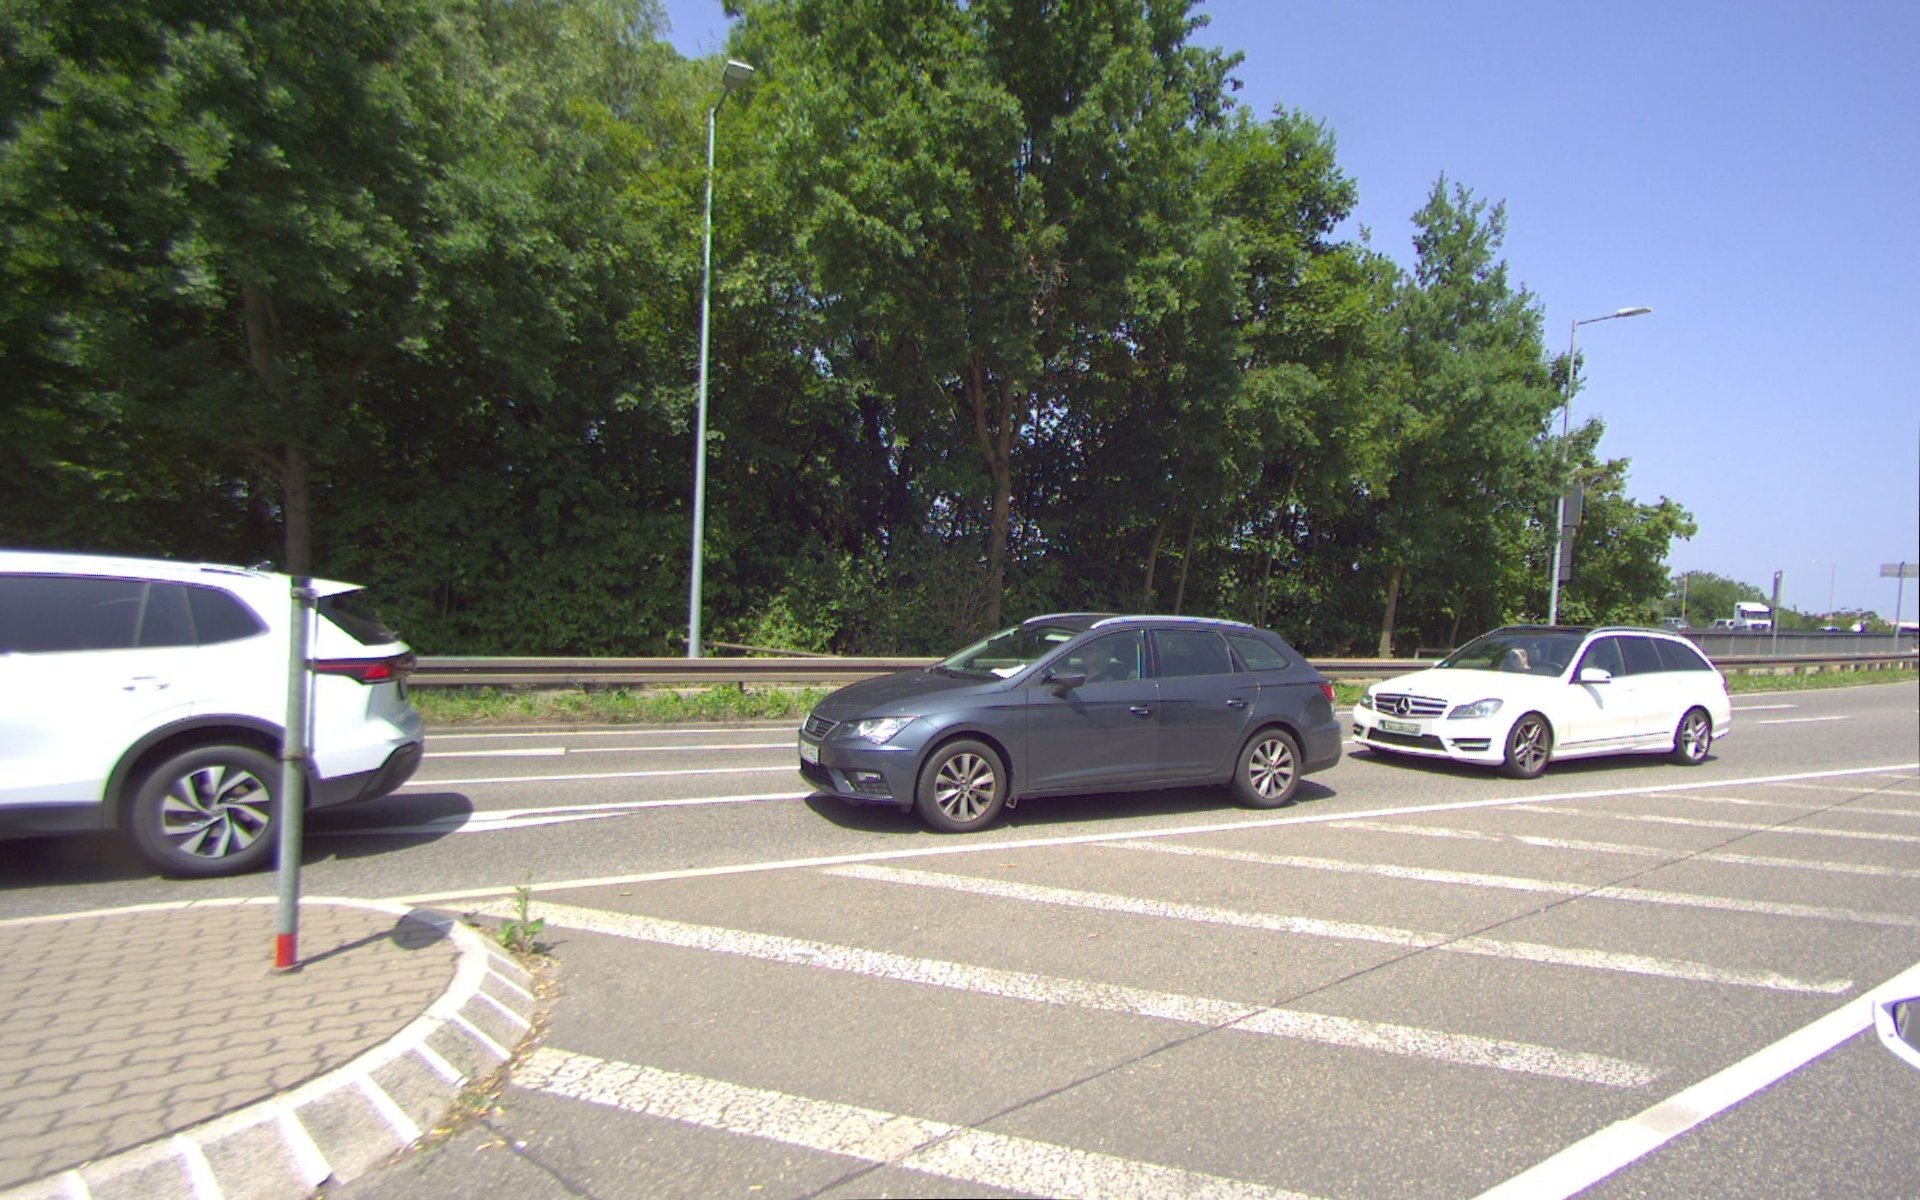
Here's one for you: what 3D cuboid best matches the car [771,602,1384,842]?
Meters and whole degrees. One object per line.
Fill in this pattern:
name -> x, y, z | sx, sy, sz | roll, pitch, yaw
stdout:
car -> 0.964, 0.804, 7.883 | 4.485, 1.425, 1.822 | 2, 0, -25

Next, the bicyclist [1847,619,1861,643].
bicyclist -> 72.614, 2.546, 81.579 | 0.614, 1.911, 0.711 | 3, 1, 27

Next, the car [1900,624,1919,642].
car -> 84.537, 2.915, 88.535 | 1.815, 1.528, 3.624 | 3, 1, 33

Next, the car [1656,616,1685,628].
car -> 90.371, 2.820, 127.793 | 1.532, 1.404, 3.617 | 2, 1, 7

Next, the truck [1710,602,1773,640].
truck -> 88.427, 2.321, 113.833 | 2.660, 4.045, 6.188 | 2, 1, 7

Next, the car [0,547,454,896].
car -> -5.286, 0.562, 5.416 | 4.520, 1.660, 1.821 | 2, 0, -27

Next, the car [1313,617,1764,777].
car -> 6.289, 0.948, 10.831 | 4.822, 1.425, 1.822 | 2, -1, -25

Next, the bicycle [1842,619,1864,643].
bicycle -> 72.726, 2.532, 81.800 | 0.687, 1.826, 2.178 | 3, 1, 26
